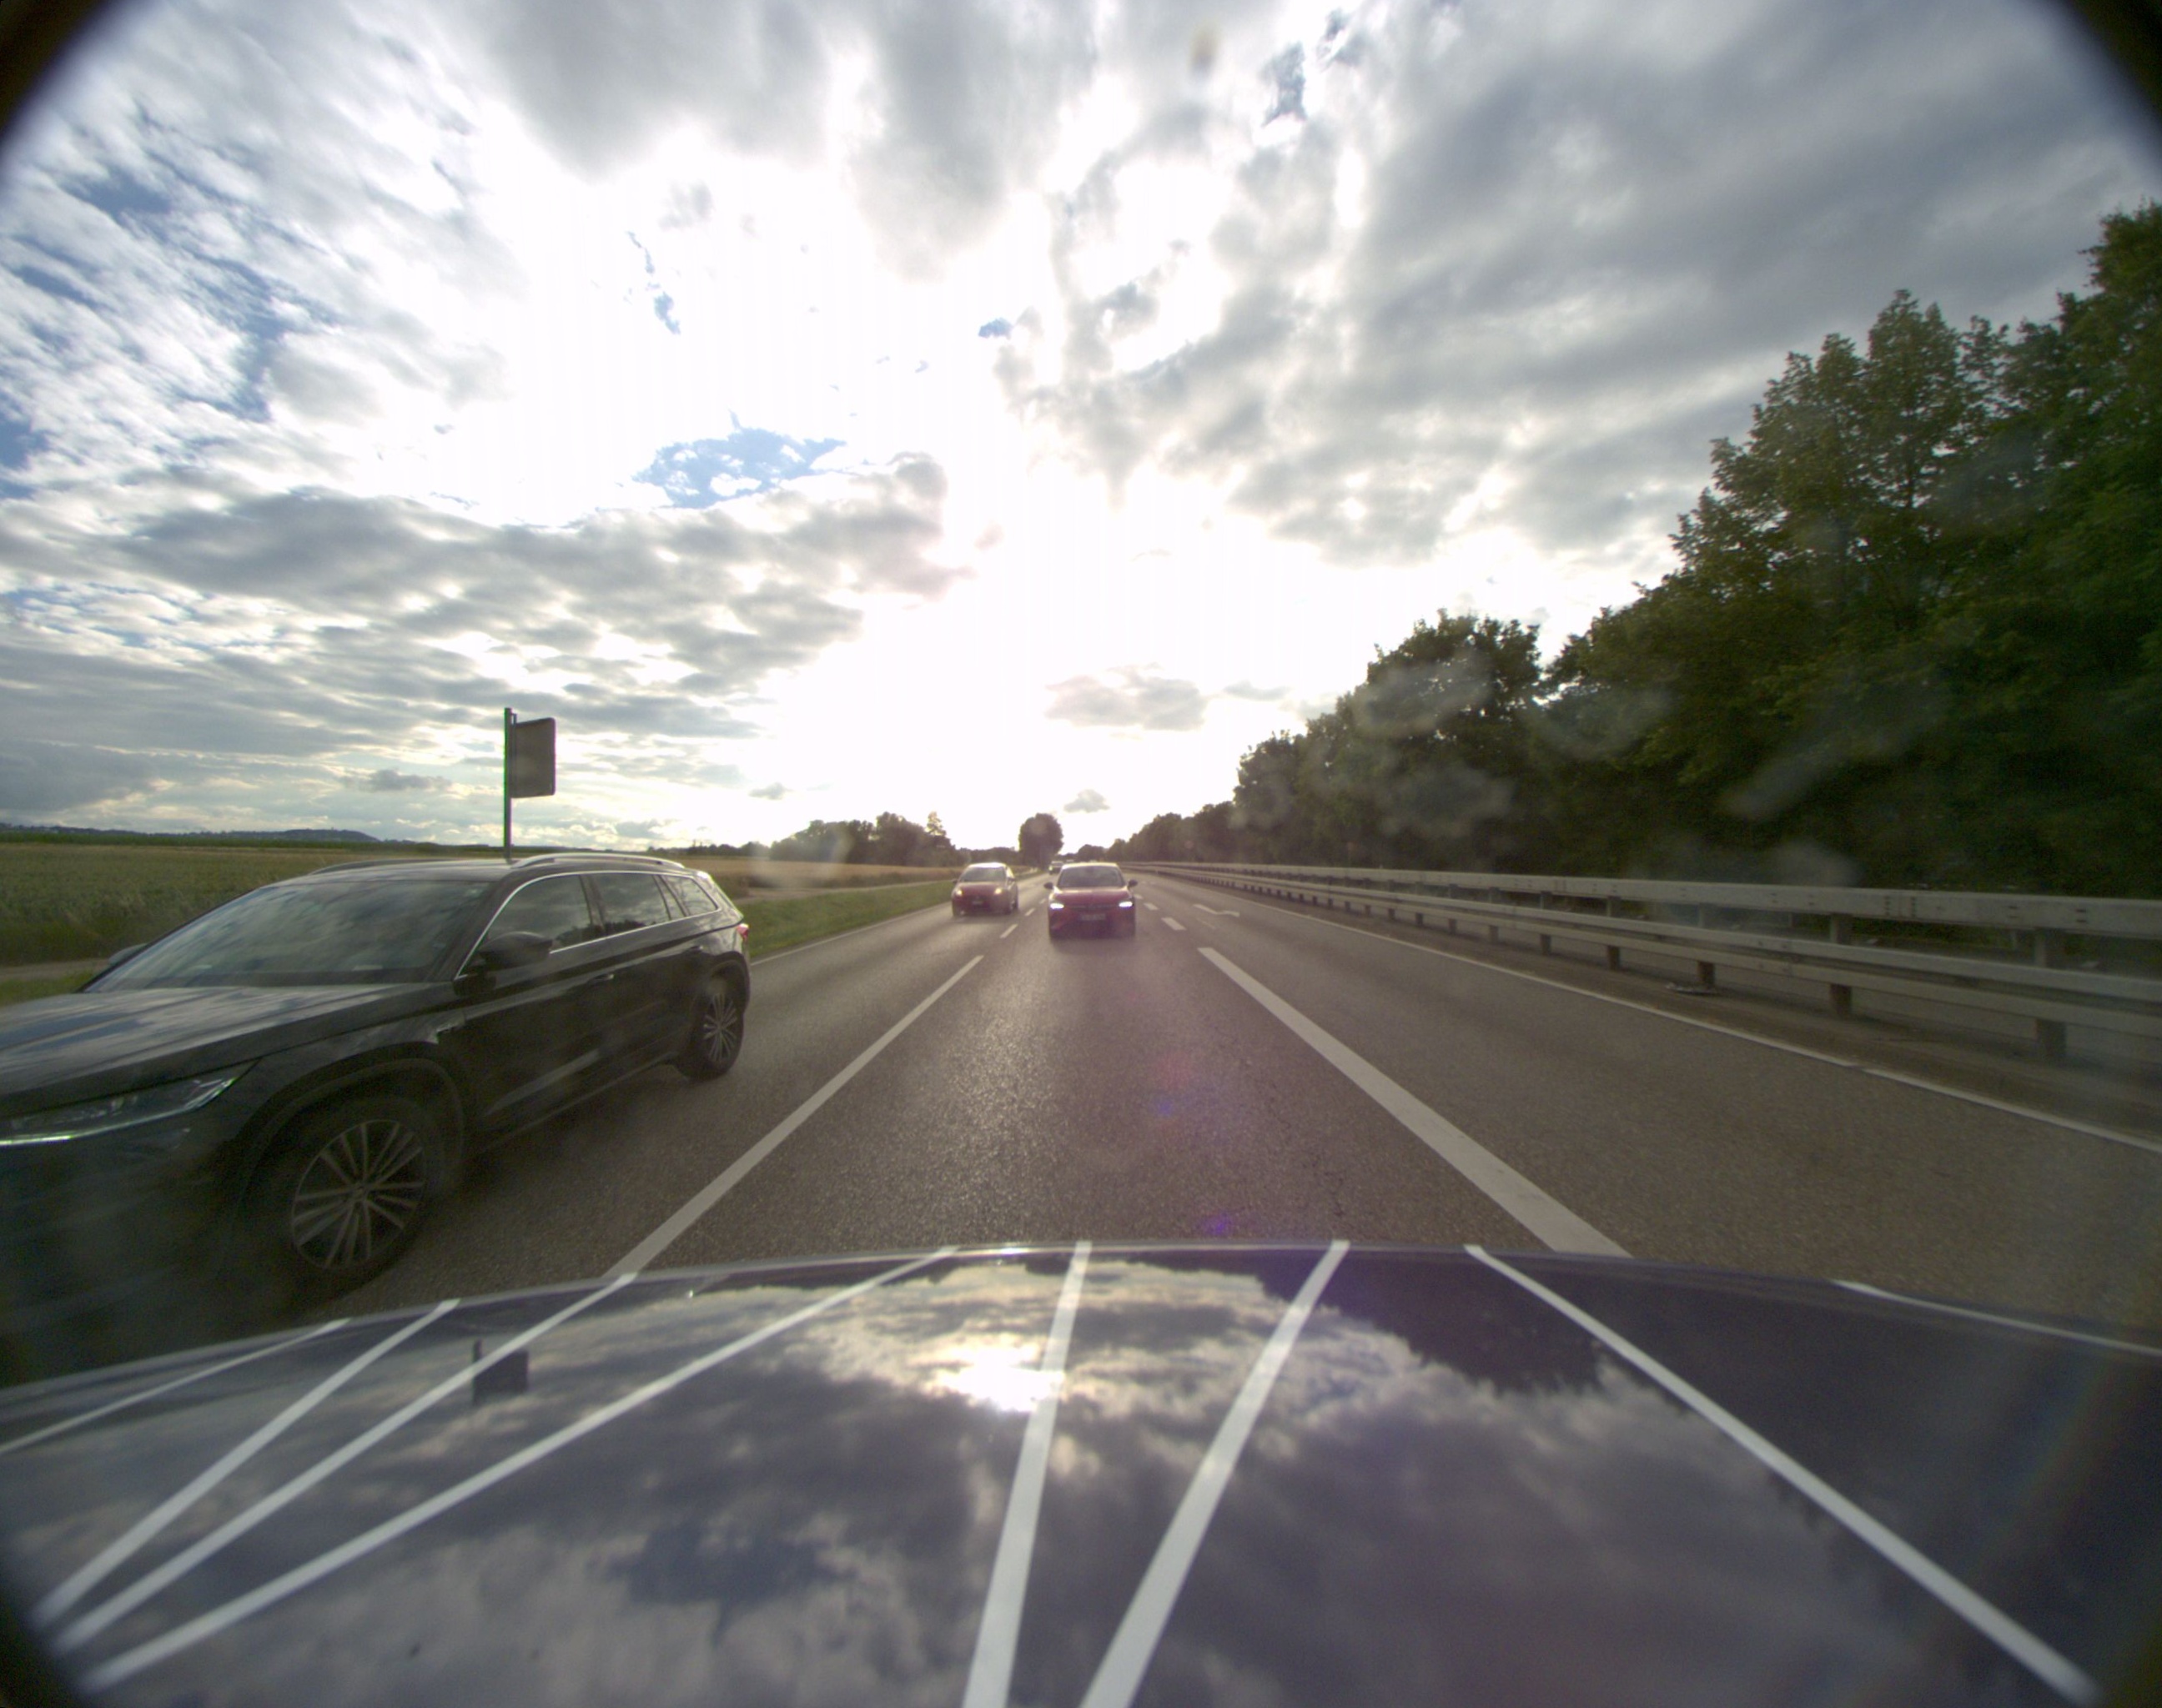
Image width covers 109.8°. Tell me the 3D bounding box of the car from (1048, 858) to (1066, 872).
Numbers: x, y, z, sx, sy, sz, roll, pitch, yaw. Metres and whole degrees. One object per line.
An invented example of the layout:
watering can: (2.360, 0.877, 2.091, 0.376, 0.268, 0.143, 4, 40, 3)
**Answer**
car: (-2.636, 1.215, 85.961, 1.799, 1.448, 4.032, -2, 0, 1)

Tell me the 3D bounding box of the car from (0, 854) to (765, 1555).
car: (-3.612, 0.908, 4.036, 1.841, 1.698, 4.556, -2, 1, 1)

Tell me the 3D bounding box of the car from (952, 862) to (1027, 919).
car: (-2.688, 1.045, 23.172, 1.712, 1.448, 3.908, -2, 1, 1)

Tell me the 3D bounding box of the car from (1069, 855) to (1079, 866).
car: (-1.230, 1.137, 135.409, 1.671, 1.730, 4.032, -2, 0, 1)

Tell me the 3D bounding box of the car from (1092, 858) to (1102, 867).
car: (2.773, 1.545, 134.087, 1.712, 1.448, 4.061, -2, 1, 1)

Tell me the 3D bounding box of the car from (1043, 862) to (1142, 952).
car: (0.241, 0.968, 15.590, 1.712, 1.448, 4.061, -2, 1, 1)

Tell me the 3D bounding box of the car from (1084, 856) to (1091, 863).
car: (1.614, 1.337, 195.707, 1.671, 1.730, 4.032, -2, 0, 1)
